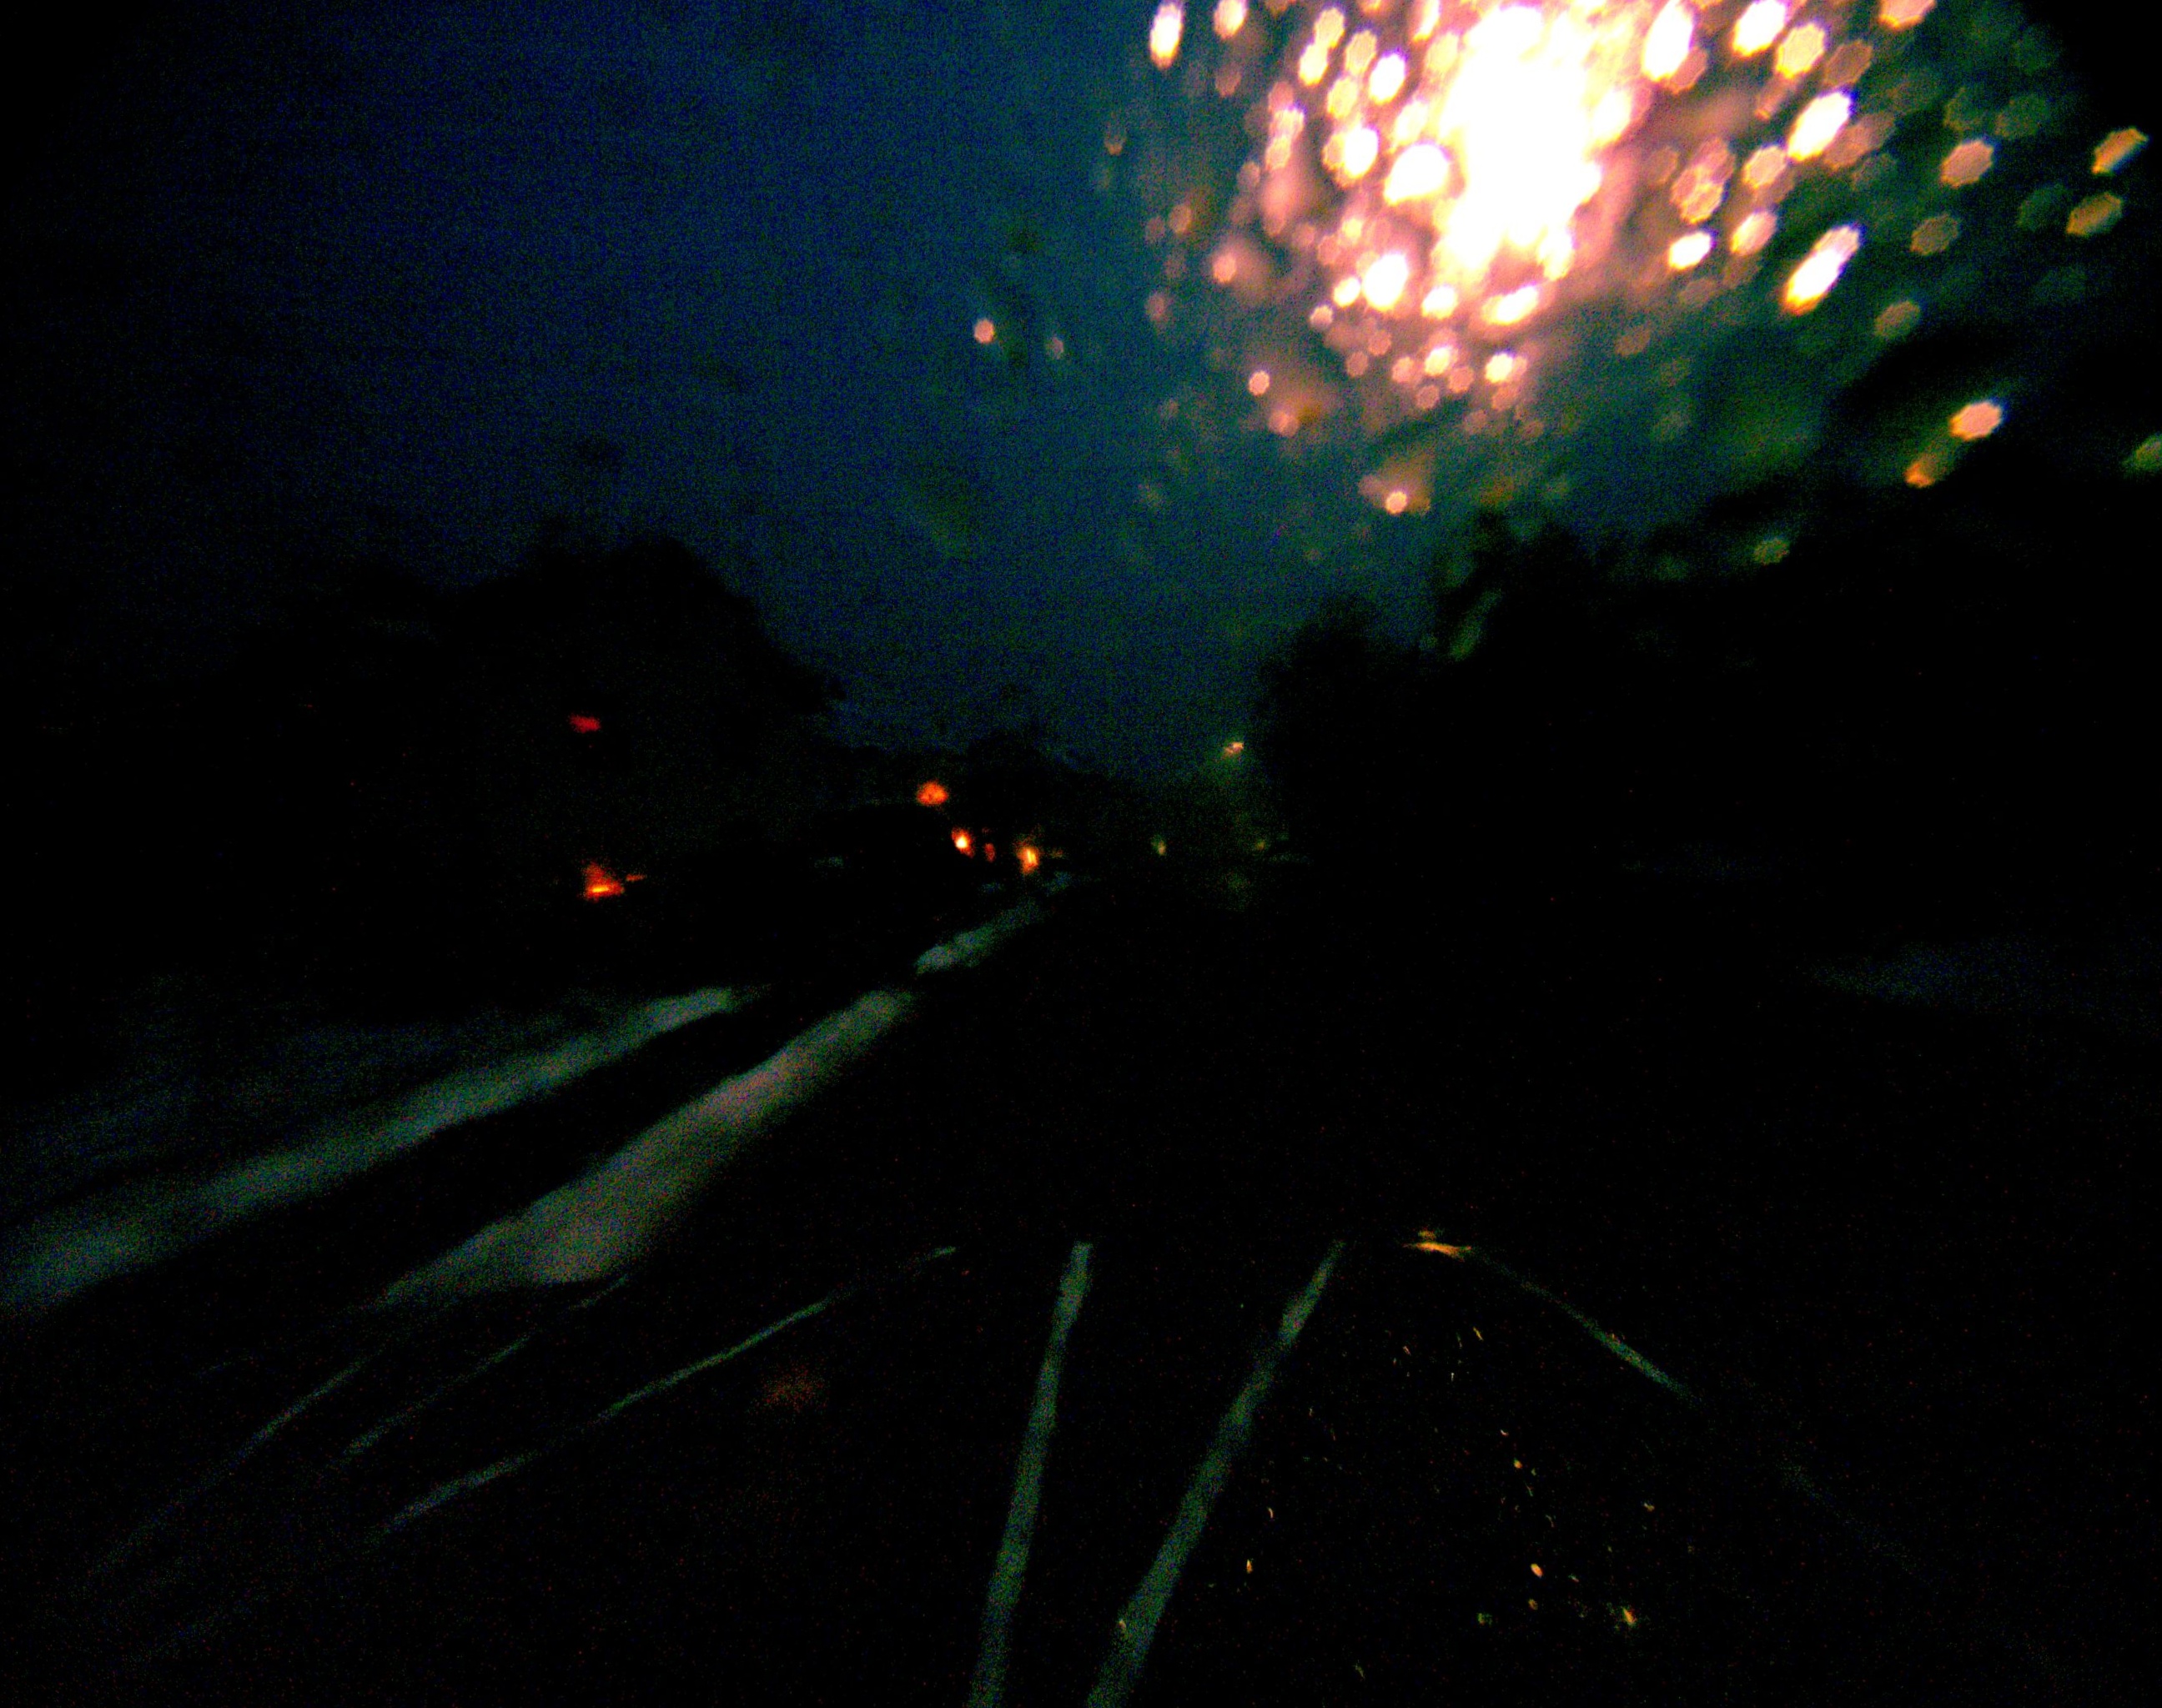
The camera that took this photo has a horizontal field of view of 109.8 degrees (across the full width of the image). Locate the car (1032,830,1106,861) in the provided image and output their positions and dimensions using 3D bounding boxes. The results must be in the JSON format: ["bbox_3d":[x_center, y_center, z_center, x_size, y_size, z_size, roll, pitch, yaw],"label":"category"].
[{"bbox_3d":[-0.756,-0.556,48.114,4.210,1.848,1.913,-1,3,21],"label":"car"}]
